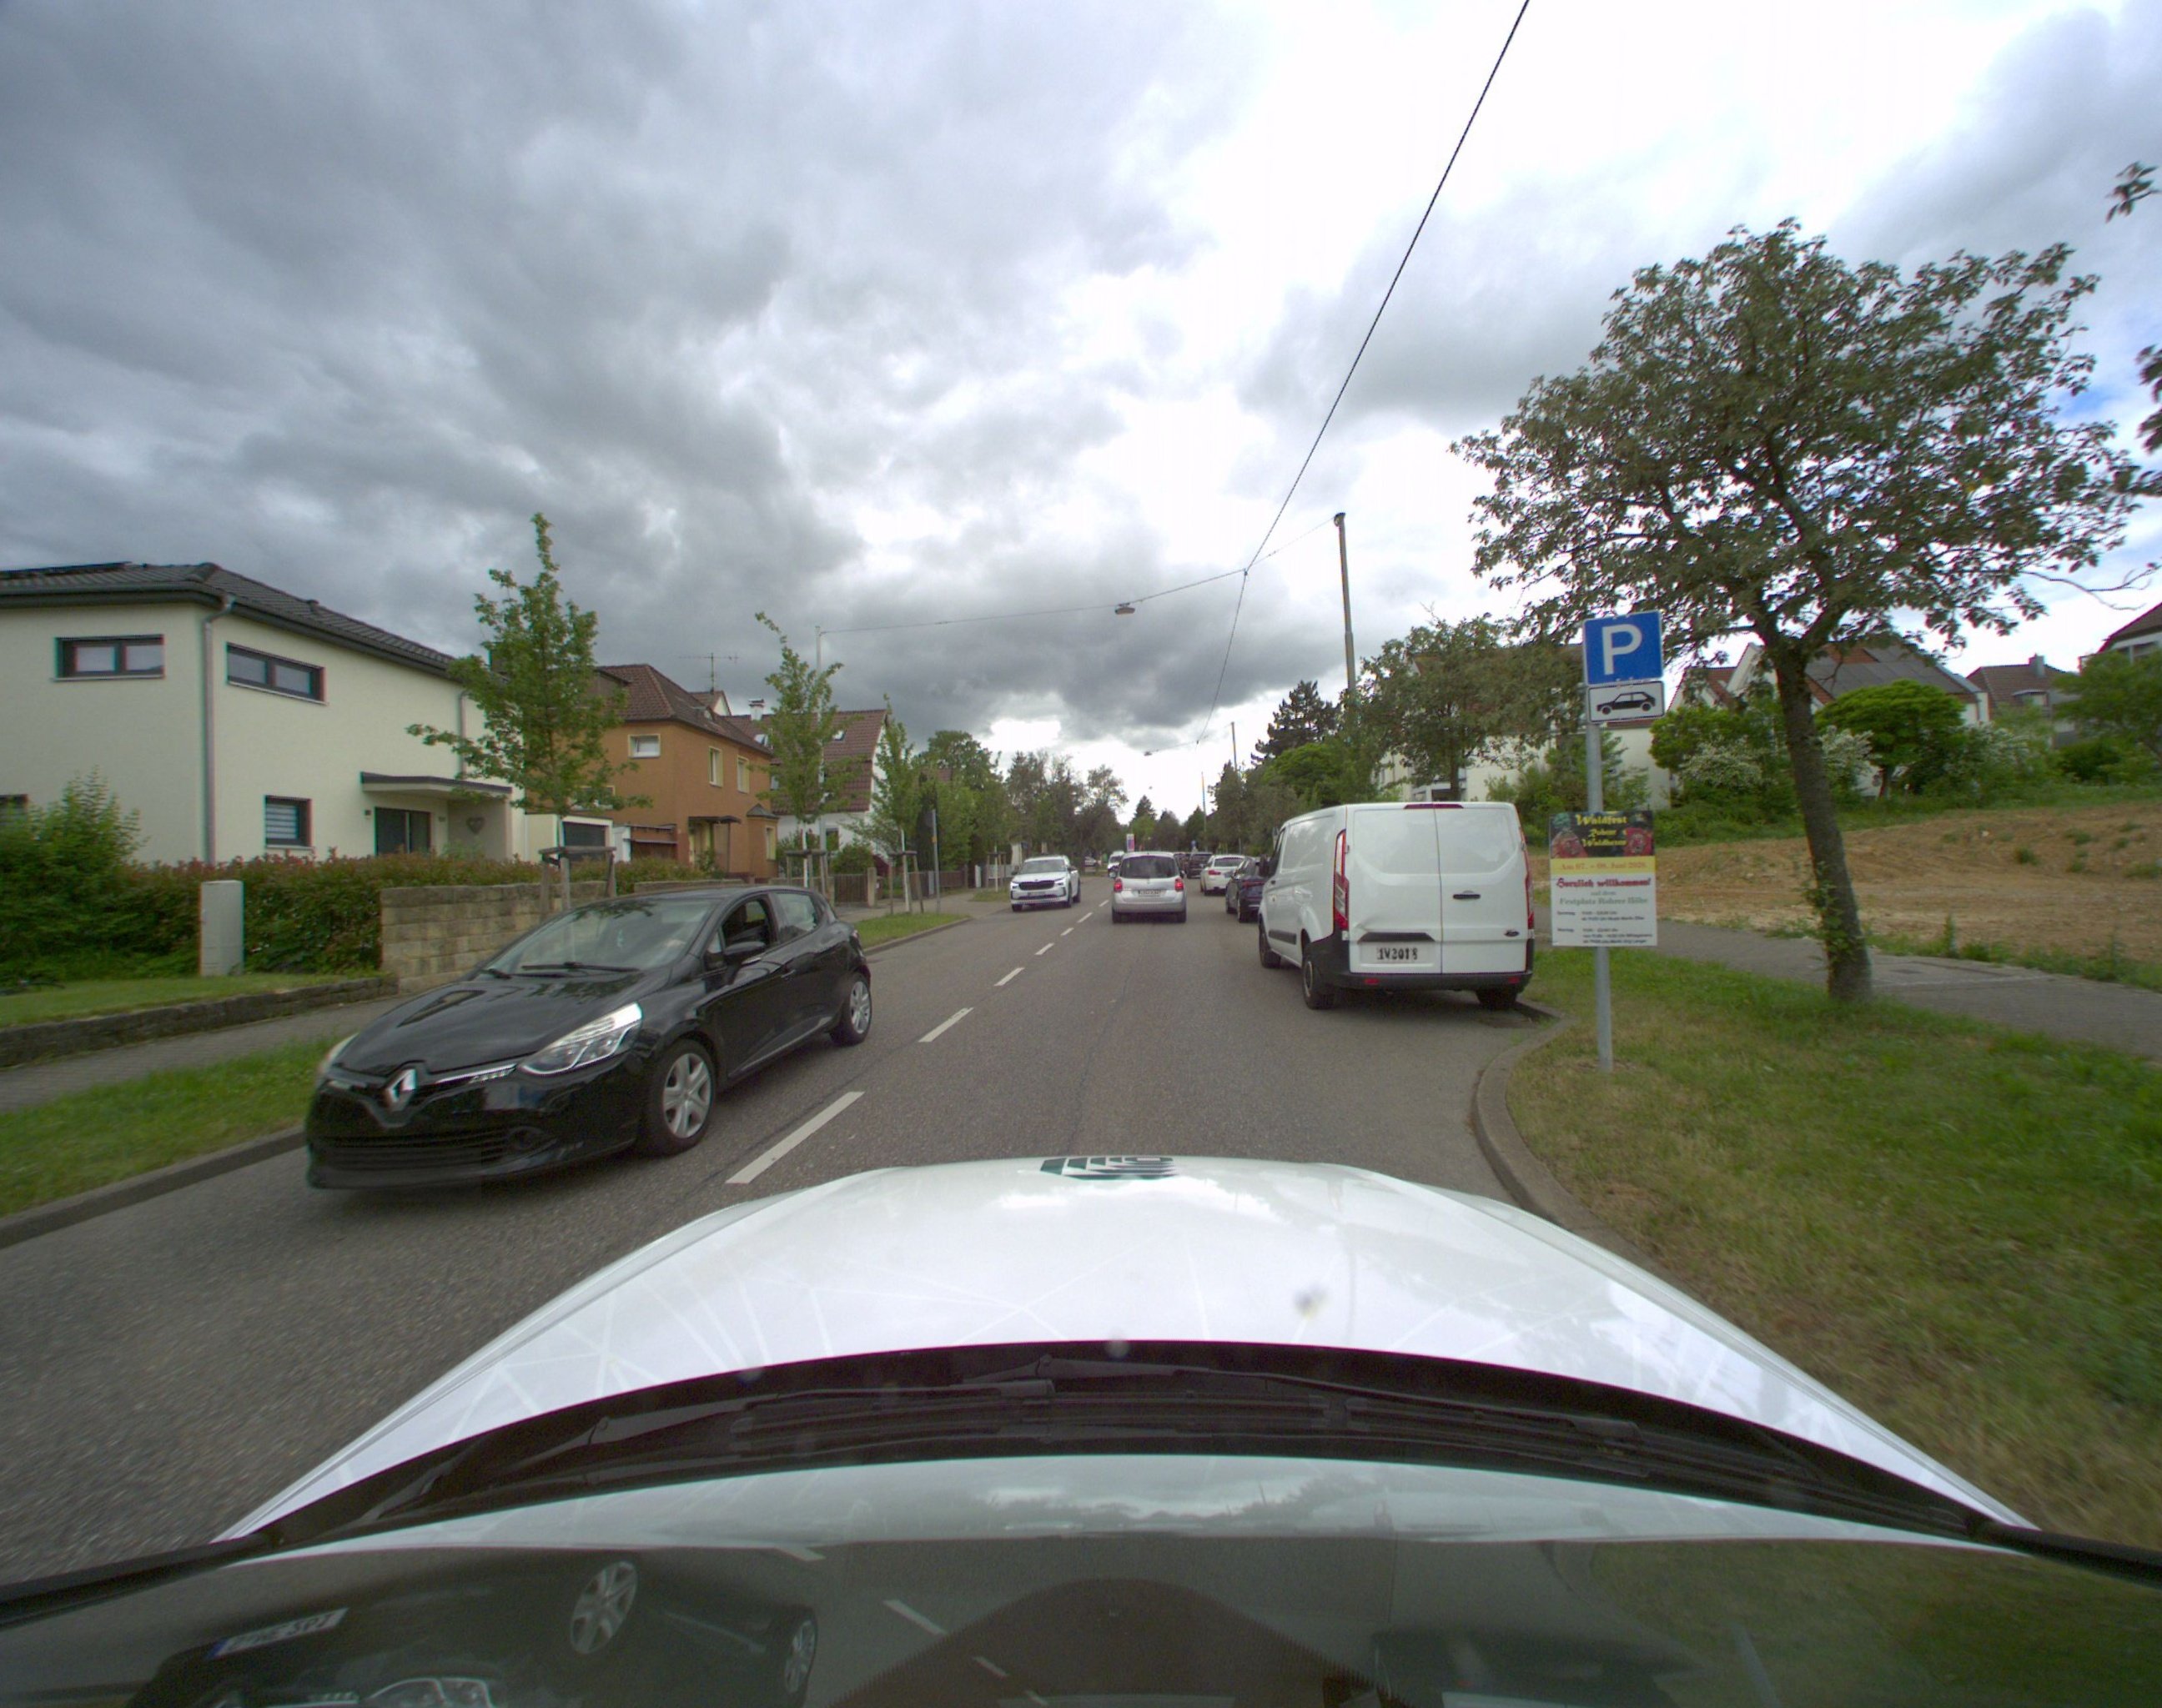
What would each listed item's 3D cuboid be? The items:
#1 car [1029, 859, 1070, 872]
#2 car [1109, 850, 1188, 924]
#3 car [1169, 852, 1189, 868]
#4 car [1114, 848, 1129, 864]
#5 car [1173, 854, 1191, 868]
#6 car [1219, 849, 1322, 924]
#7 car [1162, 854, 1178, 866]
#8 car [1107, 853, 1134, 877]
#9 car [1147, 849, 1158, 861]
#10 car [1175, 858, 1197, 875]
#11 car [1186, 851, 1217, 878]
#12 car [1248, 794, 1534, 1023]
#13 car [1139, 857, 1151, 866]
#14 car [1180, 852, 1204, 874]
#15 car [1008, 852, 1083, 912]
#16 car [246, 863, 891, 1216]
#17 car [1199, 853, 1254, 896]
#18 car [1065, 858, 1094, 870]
[{"bbox_3d":[-3.288,1.252,86.486,4.266,1.368,1.815,0,-1,-2],"label":"car"},{"bbox_3d":[1.616,0.721,19.203,1.671,1.560,3.517,-1,0,5],"label":"car"},{"bbox_3d":[11.040,0.669,92.188,1.792,1.778,4.706,-1,0,2],"label":"car"},{"bbox_3d":[6.940,0.342,139.185,2.064,2.582,5.306,-5,-1,4],"label":"car"},{"bbox_3d":[10.863,0.736,87.610,1.552,1.443,3.507,-1,0,1],"label":"car"},{"bbox_3d":[4.282,0.670,18.967,1.658,1.516,4.225,-1,0,4],"label":"car"},{"bbox_3d":[11.673,0.817,107.402,1.621,1.452,3.875,-2,0,0],"label":"car"},{"bbox_3d":[3.194,0.825,65.052,1.786,1.752,4.305,-3,0,6],"label":"car"},{"bbox_3d":[17.525,0.194,199.630,2.274,2.911,5.277,-1,-1,0],"label":"car"},{"bbox_3d":[7.787,0.915,60.538,1.474,1.236,3.890,0,0,5],"label":"car"},{"bbox_3d":[7.409,0.623,50.435,1.679,1.609,4.115,-1,0,6],"label":"car"},{"bbox_3d":[3.152,0.477,9.406,1.767,1.943,4.794,-1,0,4],"label":"car"},{"bbox_3d":[12.126,1.402,154.327,1.691,1.506,3.968,-2,0,-3],"label":"car"},{"bbox_3d":[9.296,0.744,68.622,1.821,1.712,4.556,-2,0,6],"label":"car"},{"bbox_3d":[-1.055,0.846,26.534,1.805,1.692,4.471,-4,-1,5],"label":"car"},{"bbox_3d":[-2.840,0.885,5.716,1.608,1.472,4.006,-5,-1,6],"label":"car"},{"bbox_3d":[5.353,0.714,30.368,1.685,1.453,4.411,-1,0,6],"label":"car"},{"bbox_3d":[-0.242,1.490,124.027,4.083,1.706,1.743,-2,-1,-7],"label":"car"}]
